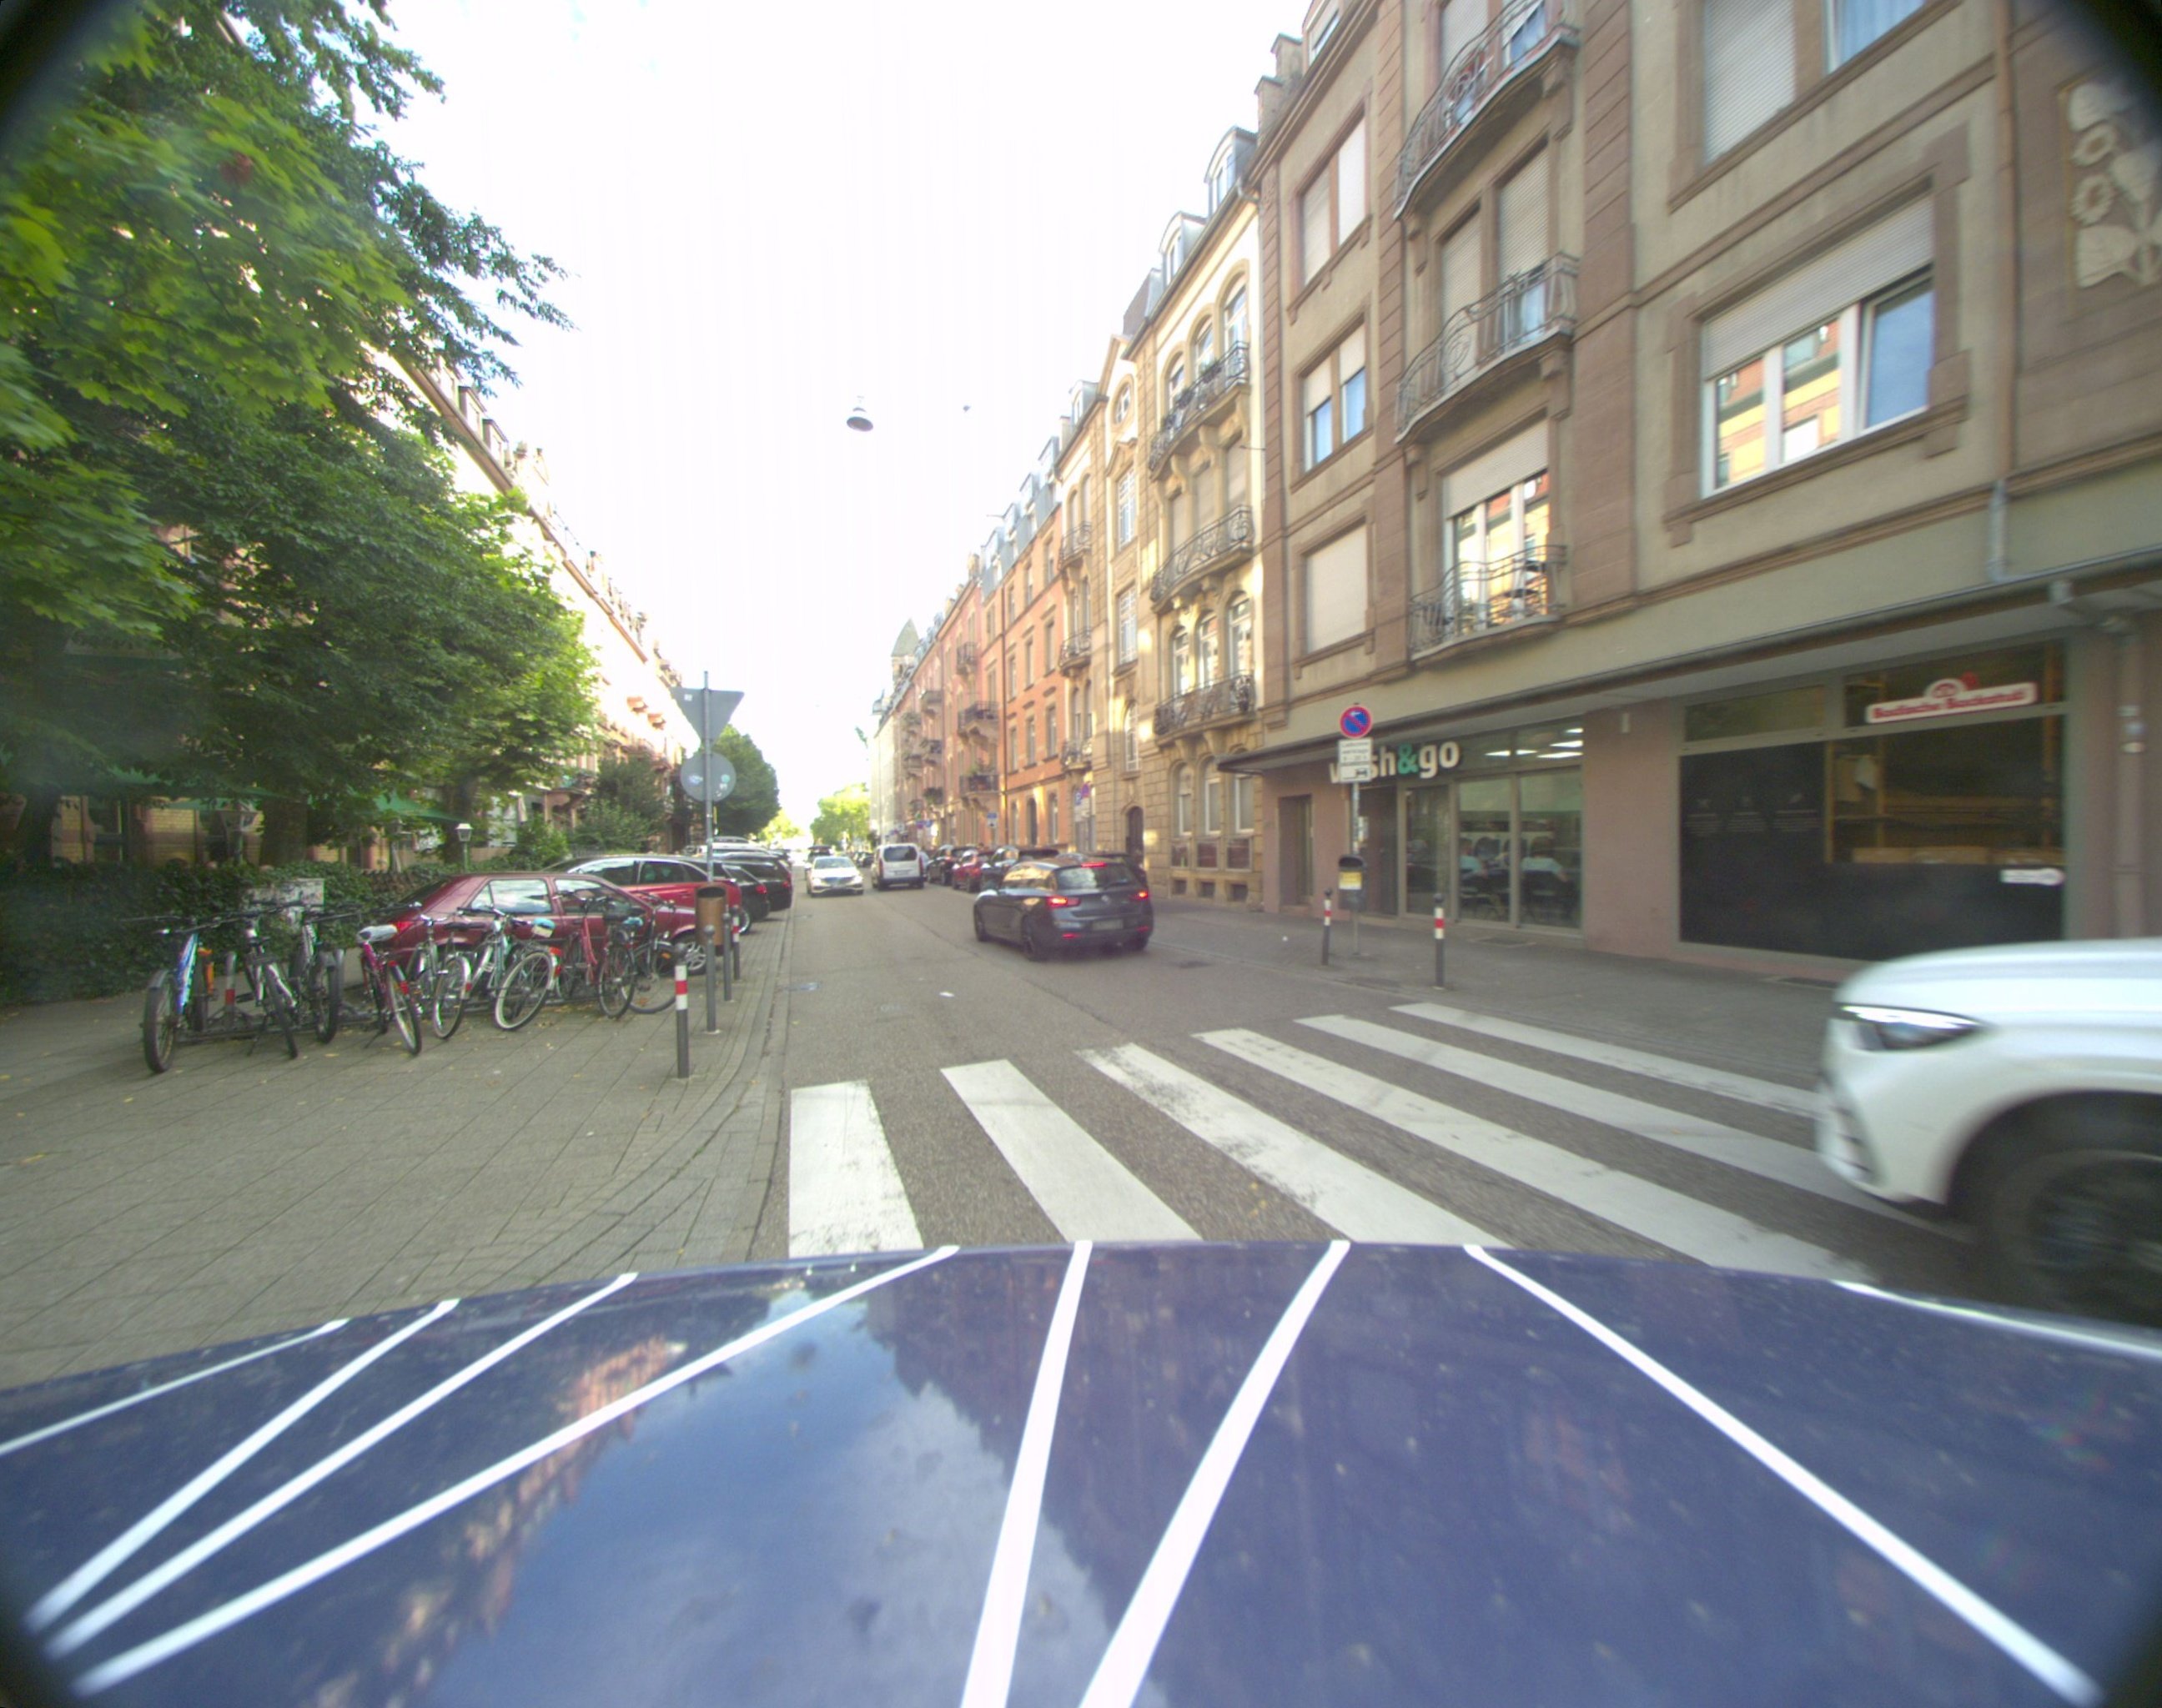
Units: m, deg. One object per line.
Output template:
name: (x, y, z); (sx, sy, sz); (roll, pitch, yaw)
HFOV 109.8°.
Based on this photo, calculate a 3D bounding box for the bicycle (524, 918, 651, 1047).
bicycle: (-4.838, 1.185, 7.399); (1.859, 0.979, 0.473); (1, 1, 39)

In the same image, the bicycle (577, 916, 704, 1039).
bicycle: (-4.499, 1.192, 7.705); (1.859, 0.979, 0.473); (1, 1, 39)

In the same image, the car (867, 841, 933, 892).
car: (-7.612, 0.475, 31.626); (1.947, 1.869, 4.827); (-3, 1, -21)

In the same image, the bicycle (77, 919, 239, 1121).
bicycle: (-6.516, 1.082, 5.432); (0.435, 1.094, 1.670); (1, 1, -40)

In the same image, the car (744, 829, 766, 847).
car: (-33.154, -1.639, 77.191); (1.853, 1.724, 3.991); (-3, 1, -25)

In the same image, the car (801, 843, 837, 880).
car: (-15.204, 0.399, 44.309); (1.795, 2.051, 3.993); (-1, 1, -17)

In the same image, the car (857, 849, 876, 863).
car: (-22.452, 0.196, 79.602); (1.627, 1.371, 3.755); (-2, 1, -19)

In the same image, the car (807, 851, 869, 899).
car: (-9.401, 0.728, 29.177); (1.947, 1.588, 4.827); (-3, 1, -21)

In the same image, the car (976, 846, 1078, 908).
car: (-1.718, 0.583, 22.531); (1.864, 1.576, 4.390); (-3, 2, -20)

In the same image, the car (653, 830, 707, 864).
car: (-23.415, -0.406, 44.474); (1.736, 1.792, 3.995); (-3, 1, -13)

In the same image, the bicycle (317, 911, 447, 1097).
bicycle: (-5.484, 1.077, 5.927); (1.833, 1.136, 0.476); (1, 1, 39)

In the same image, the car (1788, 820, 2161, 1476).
car: (4.419, 0.715, 0.939); (2.003, 1.625, 4.831); (-1, 1, -32)

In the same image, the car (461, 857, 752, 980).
car: (-7.232, 0.886, 11.787); (3.596, 1.606, 1.509); (1, 0, -43)

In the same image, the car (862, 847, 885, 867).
car: (-19.215, 0.254, 70.237); (1.687, 1.775, 4.013); (-1, 1, -19)

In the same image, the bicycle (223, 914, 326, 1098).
bicycle: (-6.161, 1.080, 5.851); (0.476, 1.094, 1.670); (0, 1, -44)

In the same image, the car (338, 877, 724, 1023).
car: (-6.495, 0.996, 9.238); (1.509, 1.372, 3.596); (1, 0, 45)

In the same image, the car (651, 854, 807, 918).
car: (-9.619, 0.825, 20.909); (3.596, 1.602, 1.509); (1, 0, -43)

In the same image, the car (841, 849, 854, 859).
car: (-35.014, 0.024, 113.900); (1.627, 1.371, 3.755); (-1, 1, -19)

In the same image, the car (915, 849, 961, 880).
car: (-7.162, 0.502, 37.836); (1.627, 1.371, 3.755); (-3, 1, -20)

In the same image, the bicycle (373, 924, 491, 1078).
bicycle: (-5.489, 1.162, 6.384); (1.833, 0.979, 0.419); (1, 1, 39)

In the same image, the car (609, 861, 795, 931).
car: (-8.761, 0.924, 17.746); (3.596, 1.456, 1.509); (1, 0, -43)

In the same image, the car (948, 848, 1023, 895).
car: (-3.576, 0.586, 27.802); (1.764, 1.488, 4.125); (-3, 1, -21)

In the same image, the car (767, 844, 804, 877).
car: (-19.180, 0.385, 49.449); (2.001, 2.002, 3.993); (-3, 1, -19)

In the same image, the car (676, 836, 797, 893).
car: (-16.218, 0.443, 36.000); (1.994, 2.409, 4.748); (-1, 2, 38)

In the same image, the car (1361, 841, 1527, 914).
car: (9.657, 0.553, 20.200); (4.005, 1.612, 1.995); (-3, 1, -29)

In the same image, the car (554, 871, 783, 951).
car: (-7.824, 1.005, 14.594); (3.596, 1.315, 1.509); (1, 0, -43)

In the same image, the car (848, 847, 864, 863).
car: (-27.845, 0.055, 93.915); (1.729, 1.922, 4.004); (-1, 1, -19)

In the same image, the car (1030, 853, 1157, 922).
car: (0.172, 0.688, 17.914); (1.726, 1.361, 3.822); (-3, 1, -20)

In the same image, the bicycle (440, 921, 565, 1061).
bicycle: (-5.291, 1.176, 6.904); (1.859, 0.979, 0.473); (1, 1, 39)

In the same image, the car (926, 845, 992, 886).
car: (-5.372, 0.470, 33.007); (1.765, 1.589, 4.333); (-3, 1, -23)

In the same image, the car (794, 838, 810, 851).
car: (-41.182, -1.413, 112.199); (2.001, 1.878, 3.993); (-3, 1, -18)

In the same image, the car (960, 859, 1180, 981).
car: (-0.410, 0.832, 11.763); (1.772, 1.374, 4.442); (-3, 1, -23)

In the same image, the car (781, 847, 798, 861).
car: (-34.878, 0.007, 90.996); (1.765, 1.598, 3.666); (-1, 1, -20)
